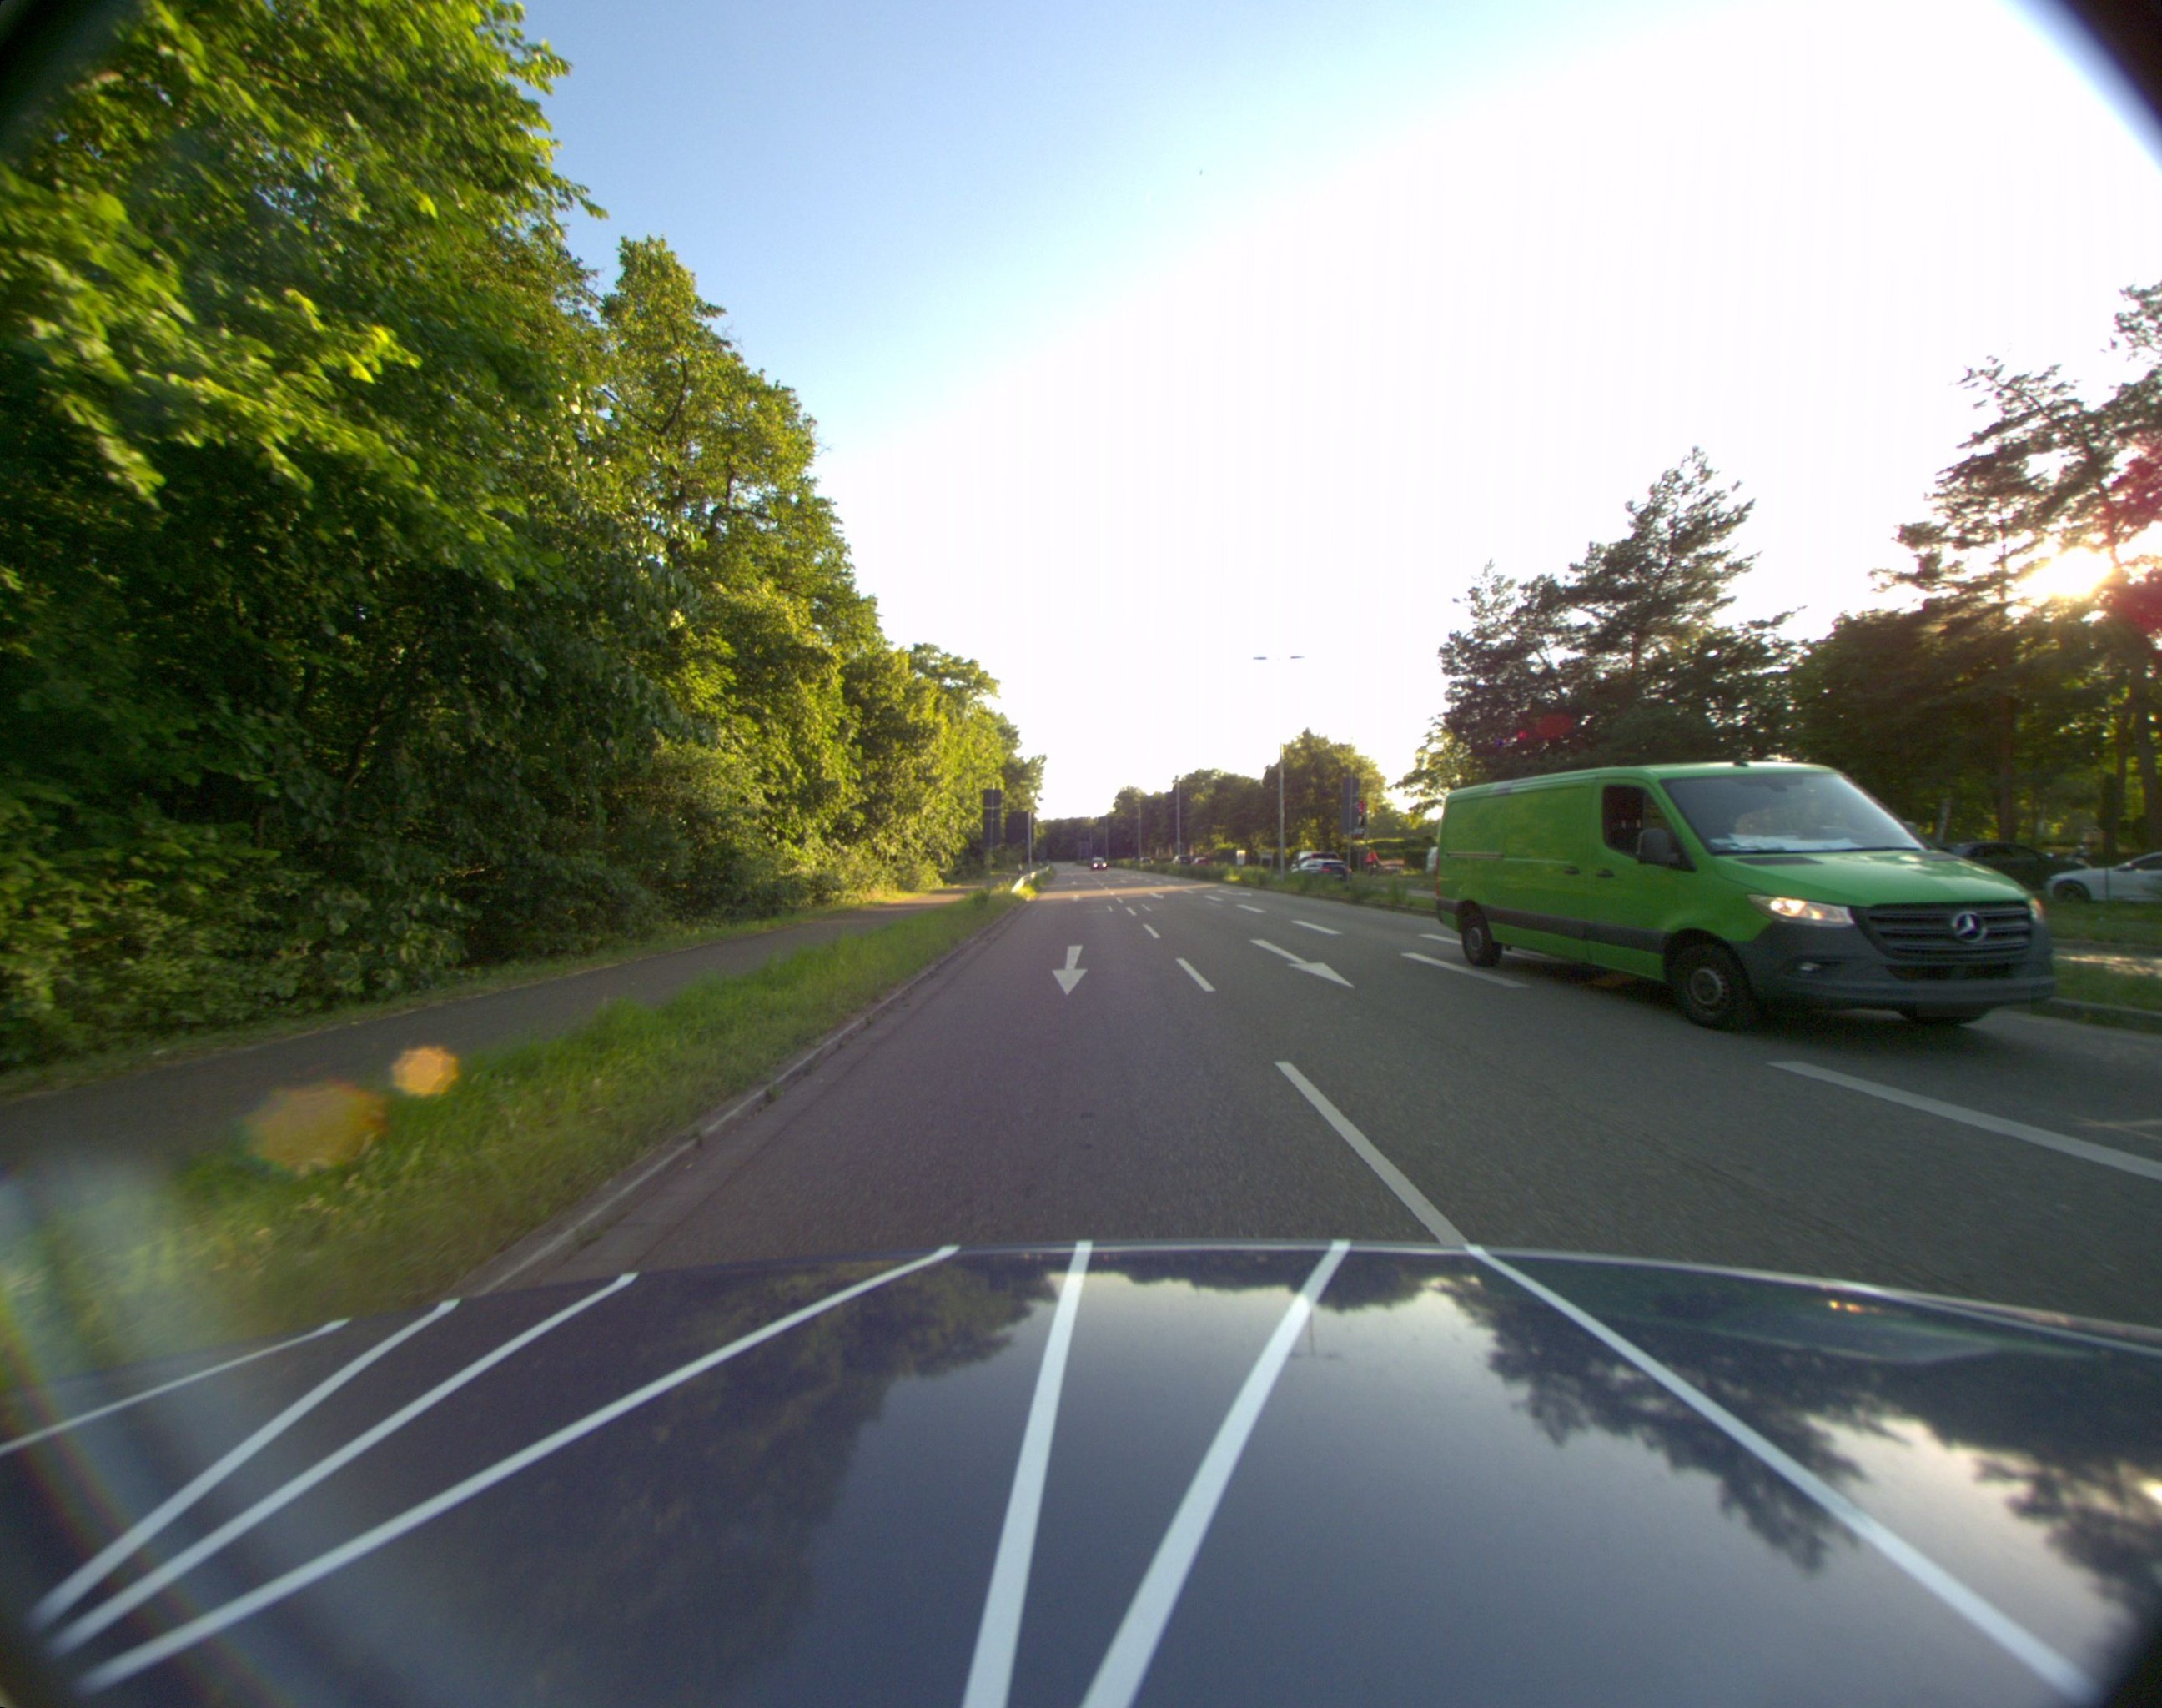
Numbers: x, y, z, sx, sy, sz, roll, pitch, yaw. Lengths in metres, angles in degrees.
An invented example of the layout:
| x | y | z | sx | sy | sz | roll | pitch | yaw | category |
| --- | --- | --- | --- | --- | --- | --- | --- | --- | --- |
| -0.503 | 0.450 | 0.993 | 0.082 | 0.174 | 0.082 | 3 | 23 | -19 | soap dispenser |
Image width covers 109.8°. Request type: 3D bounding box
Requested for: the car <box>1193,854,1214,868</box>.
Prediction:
| x | y | z | sx | sy | sz | roll | pitch | yaw | category |
| --- | --- | --- | --- | --- | --- | --- | --- | --- | --- |
| 14.300 | 0.803 | 88.600 | 1.760 | 1.532 | 3.999 | -3 | 1 | 0 | car |

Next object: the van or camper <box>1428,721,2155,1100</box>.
| x | y | z | sx | sy | sz | roll | pitch | yaw | category |
| --- | --- | --- | --- | --- | --- | --- | --- | --- | --- |
| 5.907 | 0.372 | 7.823 | 1.998 | 2.407 | 5.896 | -1 | 0 | 0 | van or camper |

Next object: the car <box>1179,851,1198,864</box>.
| x | y | z | sx | sy | sz | roll | pitch | yaw | category |
| --- | --- | --- | --- | --- | --- | --- | --- | --- | --- |
| 13.681 | 0.459 | 96.704 | 1.760 | 1.532 | 3.999 | -3 | 1 | 0 | car |

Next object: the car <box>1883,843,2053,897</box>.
| x | y | z | sx | sy | sz | roll | pitch | yaw | category |
| --- | --- | --- | --- | --- | --- | --- | --- | --- | --- |
| 26.133 | 0.458 | 22.452 | 3.098 | 1.518 | 1.659 | -1 | 0 | 0 | car |

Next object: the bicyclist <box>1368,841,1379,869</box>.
| x | y | z | sx | sy | sz | roll | pitch | yaw | category |
| --- | --- | --- | --- | --- | --- | --- | --- | --- | --- |
| 19.638 | 0.038 | 51.002 | 0.459 | 1.863 | 0.618 | -1 | 0 | -2 | bicyclist |

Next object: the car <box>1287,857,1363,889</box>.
| x | y | z | sx | sy | sz | roll | pitch | yaw | category |
| --- | --- | --- | --- | --- | --- | --- | --- | --- | --- |
| 12.113 | 0.912 | 38.052 | 1.999 | 1.486 | 4.510 | -1 | 0 | -5 | car |

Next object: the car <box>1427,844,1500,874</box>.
| x | y | z | sx | sy | sz | roll | pitch | yaw | category |
| --- | --- | --- | --- | --- | --- | --- | --- | --- | --- |
| 25.509 | 0.328 | 50.802 | 3.997 | 1.932 | 1.766 | 0 | 0 | -1 | car |

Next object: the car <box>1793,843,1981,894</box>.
| x | y | z | sx | sy | sz | roll | pitch | yaw | category |
| --- | --- | --- | --- | --- | --- | --- | --- | --- | --- |
| 26.901 | 0.477 | 25.447 | 4.524 | 1.608 | 1.771 | -1 | 0 | -2 | car |

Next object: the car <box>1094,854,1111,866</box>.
| x | y | z | sx | sy | sz | roll | pitch | yaw | category |
| --- | --- | --- | --- | --- | --- | --- | --- | --- | --- |
| 2.847 | 0.807 | 99.644 | 1.999 | 1.543 | 3.999 | -1 | 0 | -1 | car |

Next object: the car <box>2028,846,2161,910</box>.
| x | y | z | sx | sy | sz | roll | pitch | yaw | category |
| --- | --- | --- | --- | --- | --- | --- | --- | --- | --- |
| 26.918 | 0.559 | 18.413 | 1.999 | 1.539 | 4.709 | 0 | 0 | -3 | car |

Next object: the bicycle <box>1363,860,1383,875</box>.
| x | y | z | sx | sy | sz | roll | pitch | yaw | category |
| --- | --- | --- | --- | --- | --- | --- | --- | --- | --- |
| 19.608 | 0.909 | 51.058 | 0.493 | 0.928 | 2.044 | -1 | 0 | -3 | bicycle |

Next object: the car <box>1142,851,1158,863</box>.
| x | y | z | sx | sy | sz | roll | pitch | yaw | category |
| --- | --- | --- | --- | --- | --- | --- | --- | --- | --- |
| 9.722 | 0.463 | 107.154 | 1.760 | 1.532 | 3.999 | -3 | 1 | 0 | car |

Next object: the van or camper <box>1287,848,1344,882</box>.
| x | y | z | sx | sy | sz | roll | pitch | yaw | category |
| --- | --- | --- | --- | --- | --- | --- | --- | --- | --- |
| 14.419 | 0.665 | 46.933 | 1.999 | 2.002 | 4.577 | -1 | 0 | -1 | van or camper |
